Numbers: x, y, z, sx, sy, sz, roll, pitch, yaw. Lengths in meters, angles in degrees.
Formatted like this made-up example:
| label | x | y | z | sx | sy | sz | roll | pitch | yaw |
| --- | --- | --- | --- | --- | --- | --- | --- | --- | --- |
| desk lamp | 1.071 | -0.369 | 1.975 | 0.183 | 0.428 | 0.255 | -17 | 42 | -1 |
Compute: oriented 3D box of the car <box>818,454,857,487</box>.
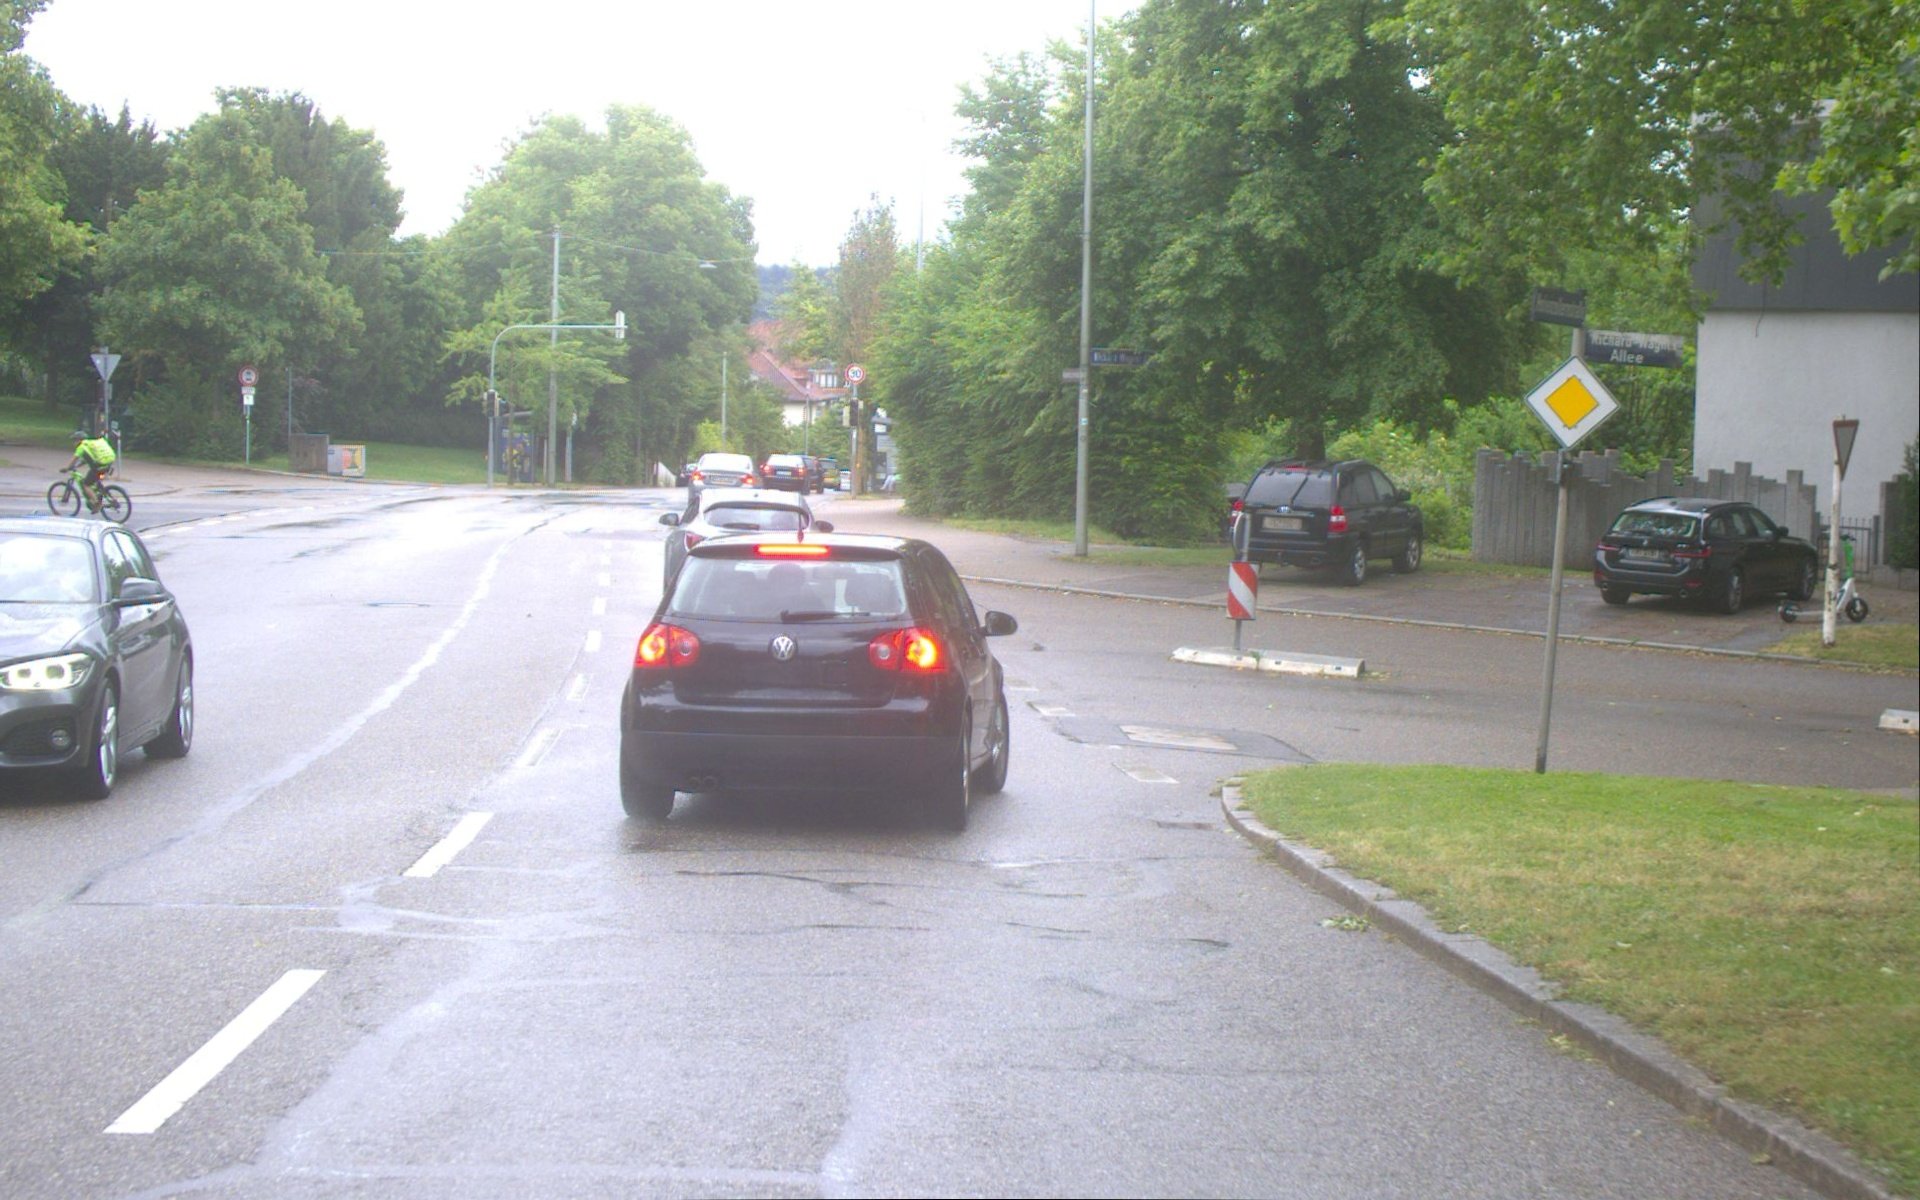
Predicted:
| label | x | y | z | sx | sy | sz | roll | pitch | yaw |
| --- | --- | --- | --- | --- | --- | --- | --- | --- | --- |
| car | -5.953 | -6.318 | 167.484 | 1.721 | 1.459 | 4.001 | 5 | 2 | -2 |

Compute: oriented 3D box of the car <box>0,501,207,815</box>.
| label | x | y | z | sx | sy | sz | roll | pitch | yaw |
| --- | --- | --- | --- | --- | --- | --- | --- | --- | --- |
| car | -5.214 | 0.213 | 18.479 | 1.721 | 1.379 | 4.141 | 2 | 3 | -5 |

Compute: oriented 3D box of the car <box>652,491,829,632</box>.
| label | x | y | z | sx | sy | sz | roll | pitch | yaw |
| --- | --- | --- | --- | --- | --- | --- | --- | --- | --- |
| car | -2.536 | -0.474 | 39.036 | 1.754 | 1.459 | 4.001 | 1 | 2 | -7 |

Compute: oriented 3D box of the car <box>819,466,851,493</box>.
| label | x | y | z | sx | sy | sz | roll | pitch | yaw |
| --- | --- | --- | --- | --- | --- | --- | --- | --- | --- |
| car | -7.429 | -7.168 | 204.559 | 1.721 | 1.459 | 4.001 | 5 | 2 | -2 |

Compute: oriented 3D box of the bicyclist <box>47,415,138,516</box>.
| label | x | y | z | sx | sy | sz | roll | pitch | yaw |
| --- | --- | --- | --- | --- | --- | --- | --- | --- | --- |
| bicyclist | -15.451 | -2.399 | 61.233 | 1.283 | 1.749 | 0.854 | 2 | 1 | 18 |

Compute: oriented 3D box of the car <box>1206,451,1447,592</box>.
| label | x | y | z | sx | sy | sz | roll | pitch | yaw |
| --- | --- | --- | --- | --- | --- | --- | --- | --- | --- |
| car | 5.358 | -1.184 | 49.631 | 1.950 | 1.683 | 4.898 | 5 | 6 | 24 |

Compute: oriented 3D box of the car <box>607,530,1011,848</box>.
| label | x | y | z | sx | sy | sz | roll | pitch | yaw |
| --- | --- | --- | --- | --- | --- | --- | --- | --- | --- |
| car | -0.697 | 0.400 | 18.423 | 1.722 | 1.459 | 4.000 | 2 | 1 | 3 |

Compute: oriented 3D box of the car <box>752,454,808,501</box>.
| label | x | y | z | sx | sy | sz | roll | pitch | yaw |
| --- | --- | --- | --- | --- | --- | --- | --- | --- | --- |
| car | -6.284 | -4.299 | 120.310 | 1.721 | 1.459 | 4.001 | 5 | 2 | -2 |

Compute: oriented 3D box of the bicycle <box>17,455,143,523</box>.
| label | x | y | z | sx | sy | sz | roll | pitch | yaw |
| --- | --- | --- | --- | --- | --- | --- | --- | --- | --- |
| bicycle | -15.694 | -1.980 | 61.312 | 2.033 | 1.151 | 0.854 | 2 | 1 | 18 |

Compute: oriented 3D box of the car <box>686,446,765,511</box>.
| label | x | y | z | sx | sy | sz | roll | pitch | yaw |
| --- | --- | --- | --- | --- | --- | --- | --- | --- | --- |
| car | -5.891 | -3.070 | 86.695 | 1.721 | 1.459 | 4.001 | 5 | 2 | -2 |

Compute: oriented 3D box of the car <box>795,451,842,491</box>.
| label | x | y | z | sx | sy | sz | roll | pitch | yaw |
| --- | --- | --- | --- | --- | --- | --- | --- | --- | --- |
| car | -5.677 | -5.195 | 138.262 | 1.721 | 1.459 | 4.001 | 5 | 2 | -2 |

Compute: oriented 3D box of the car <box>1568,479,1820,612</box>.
| label | x | y | z | sx | sy | sz | roll | pitch | yaw |
| --- | --- | --- | --- | --- | --- | --- | --- | --- | --- |
| car | 10.136 | -0.794 | 47.235 | 1.754 | 1.464 | 4.557 | 6 | 7 | 33 |

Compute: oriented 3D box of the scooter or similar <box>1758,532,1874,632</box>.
| label | x | y | z | sx | sy | sz | roll | pitch | yaw |
| --- | --- | --- | --- | --- | --- | --- | --- | --- | --- |
| scooter or similar | 11.181 | -0.234 | 44.914 | 1.335 | 1.281 | 0.562 | 0 | 2 | -9 |
